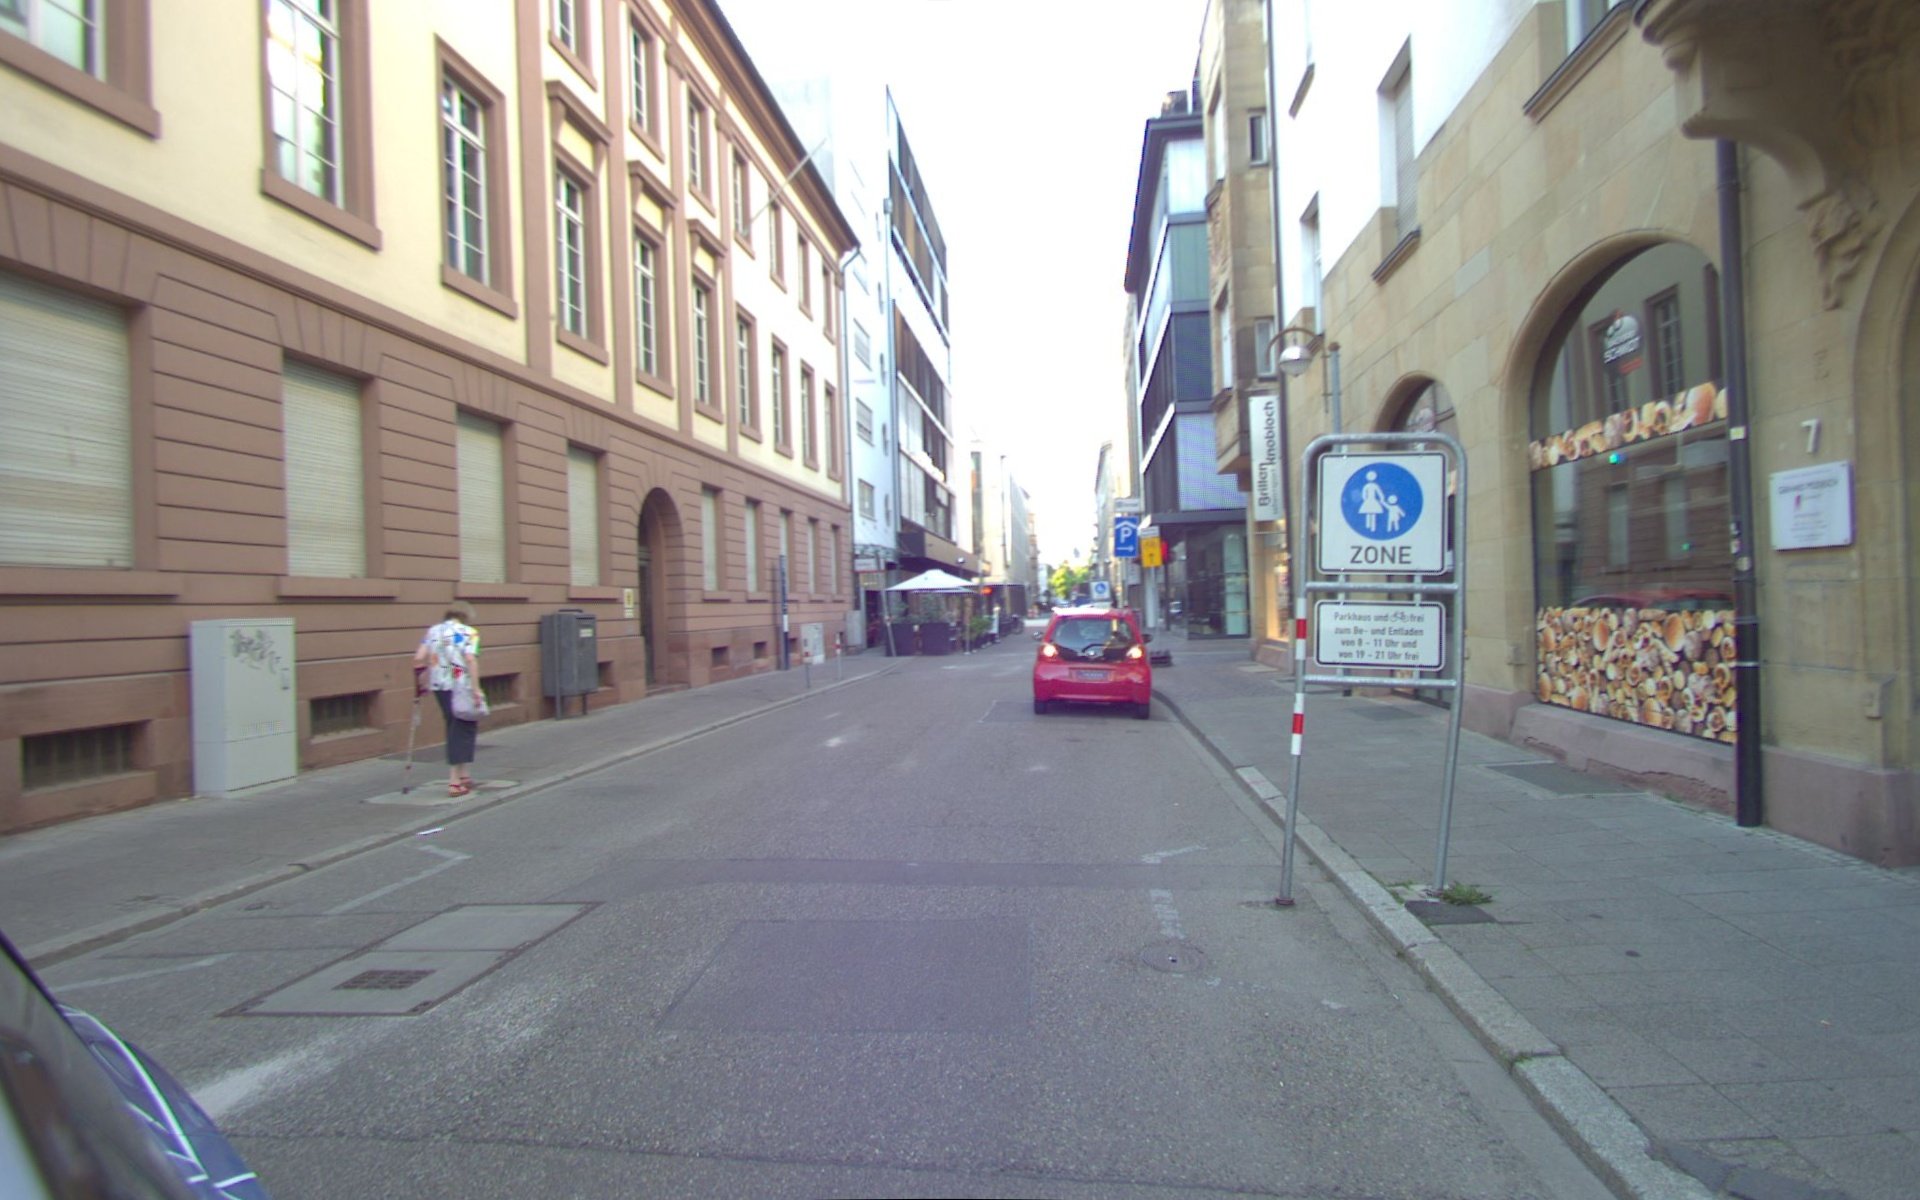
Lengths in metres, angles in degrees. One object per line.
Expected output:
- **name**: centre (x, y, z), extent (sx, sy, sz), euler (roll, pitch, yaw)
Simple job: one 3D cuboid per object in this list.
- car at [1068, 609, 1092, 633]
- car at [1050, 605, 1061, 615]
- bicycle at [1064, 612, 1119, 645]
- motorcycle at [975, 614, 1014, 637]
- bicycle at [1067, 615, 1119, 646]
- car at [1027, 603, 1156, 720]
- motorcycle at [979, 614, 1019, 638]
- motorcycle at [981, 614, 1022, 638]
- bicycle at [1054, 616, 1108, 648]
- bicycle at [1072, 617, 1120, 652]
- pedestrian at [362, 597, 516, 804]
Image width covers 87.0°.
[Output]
- **car**: centre (7.473, 1.276, 63.116), extent (1.409, 1.428, 3.887), euler (-2, -1, 6)
- **car**: centre (12.517, 1.316, 132.705), extent (1.409, 1.310, 3.556), euler (-2, -1, 6)
- **bicycle**: centre (4.727, 1.017, 36.416), extent (1.931, 1.139, 0.618), euler (-2, -1, 8)
- **motorcycle**: centre (1.971, 1.451, 57.781), extent (2.170, 1.292, 0.649), euler (0, 0, 9)
- **bicycle**: centre (5.129, 1.186, 39.095), extent (1.931, 1.139, 0.525), euler (-2, -1, 8)
- **car**: centre (1.905, 0.814, 14.799), extent (1.619, 1.452, 3.150), euler (2, 0, 7)
- **motorcycle**: centre (2.168, 1.426, 56.020), extent (2.170, 1.292, 0.649), euler (0, 0, 9)
- **motorcycle**: centre (2.258, 1.417, 55.034), extent (2.170, 1.292, 0.649), euler (0, 0, 9)
- **bicycle**: centre (4.474, 1.173, 37.367), extent (1.931, 1.139, 0.618), euler (-2, -1, 8)
- **bicycle**: centre (4.705, 1.195, 35.031), extent (1.589, 1.127, 0.618), euler (-2, -1, 8)
- **pedestrian**: centre (-4.458, 0.821, 8.723), extent (0.802, 1.684, 0.929), euler (0, -1, 5)
